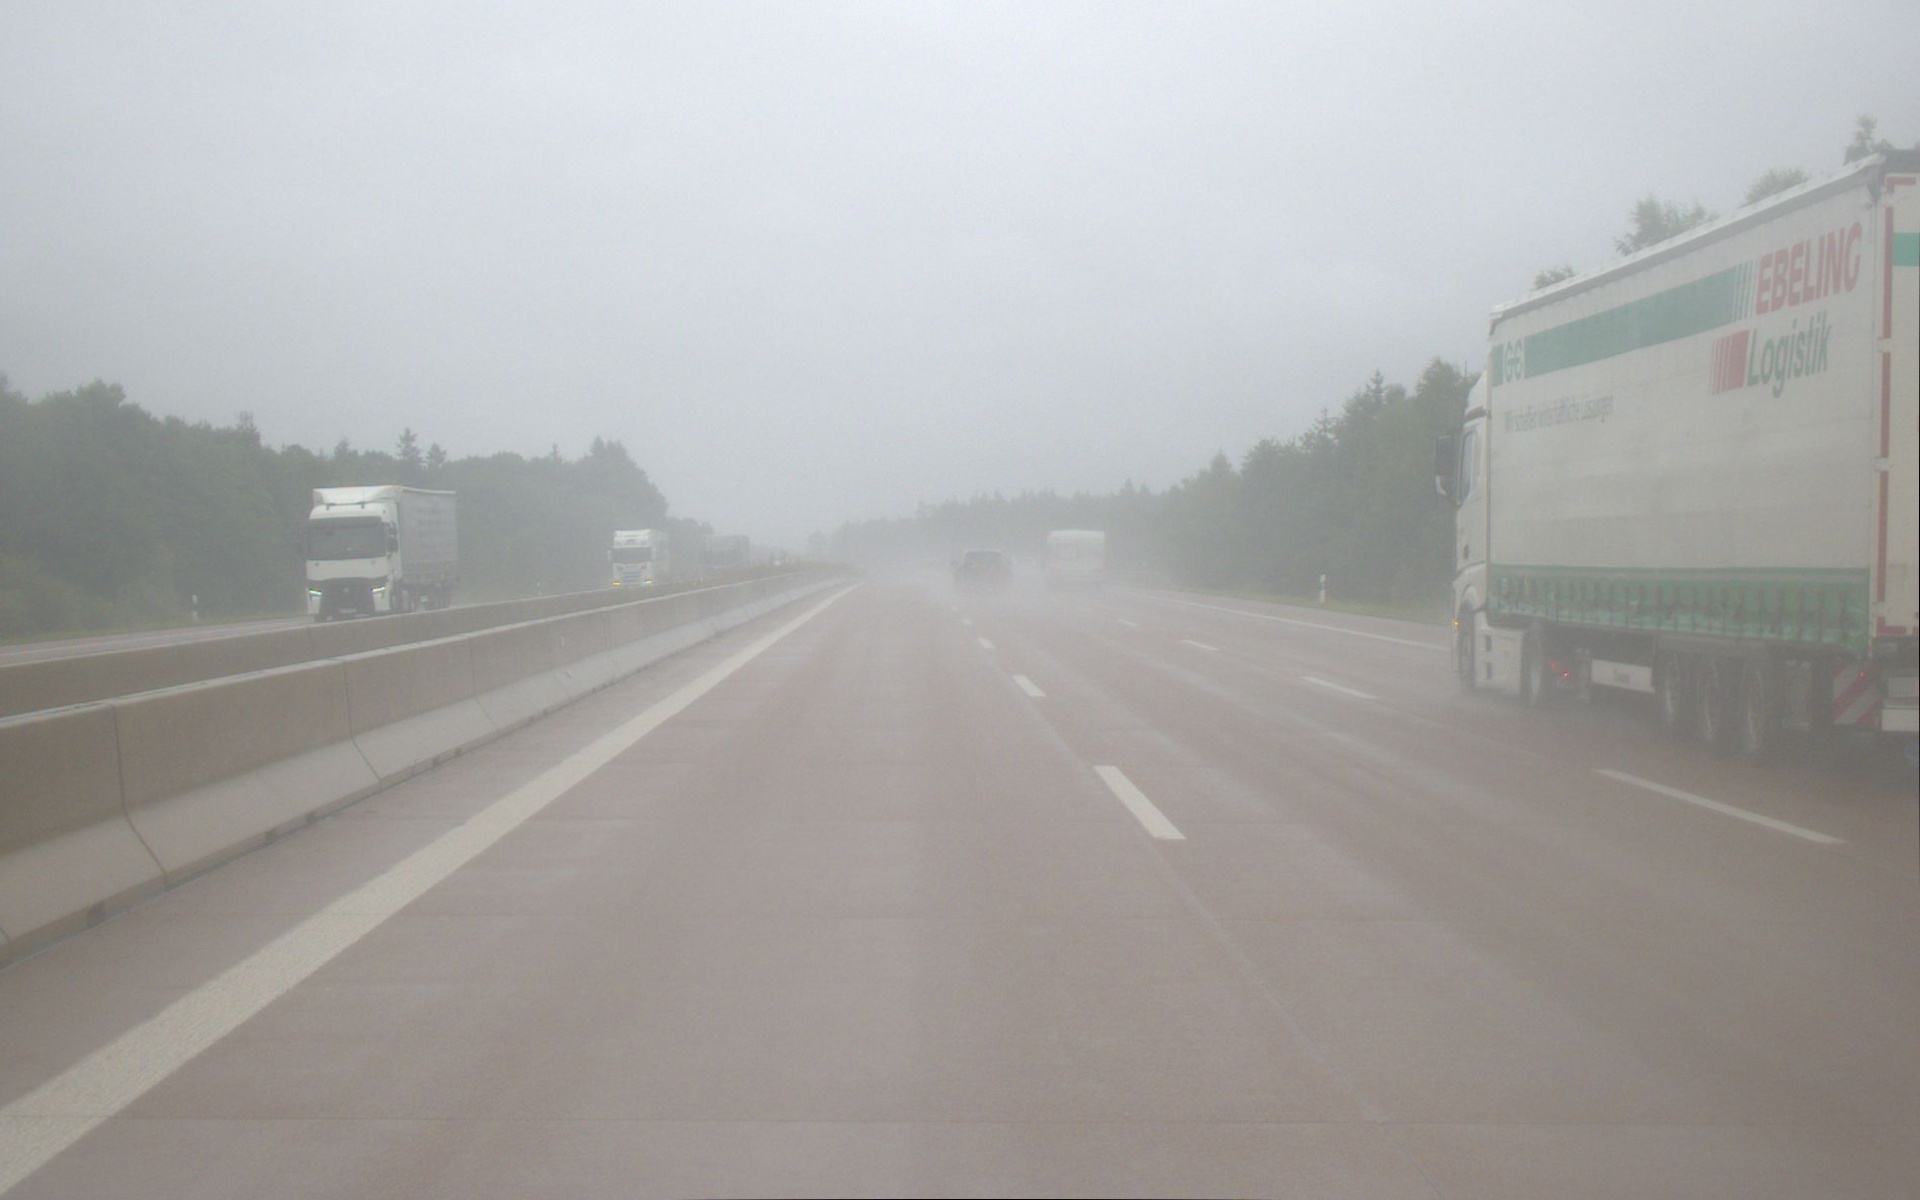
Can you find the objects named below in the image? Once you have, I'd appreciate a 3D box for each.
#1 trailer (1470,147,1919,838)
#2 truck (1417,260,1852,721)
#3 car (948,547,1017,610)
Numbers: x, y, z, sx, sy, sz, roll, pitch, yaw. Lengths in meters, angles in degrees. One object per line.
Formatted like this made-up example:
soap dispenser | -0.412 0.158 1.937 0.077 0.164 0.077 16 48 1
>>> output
trailer | 6.700 -0.849 27.612 2.852 4.217 13.133 -1 1 -1
truck | 6.522 -1.068 34.235 2.880 4.092 6.350 -1 1 -1
car | 0.733 -0.724 113.529 2.173 1.974 4.130 -2 1 0
